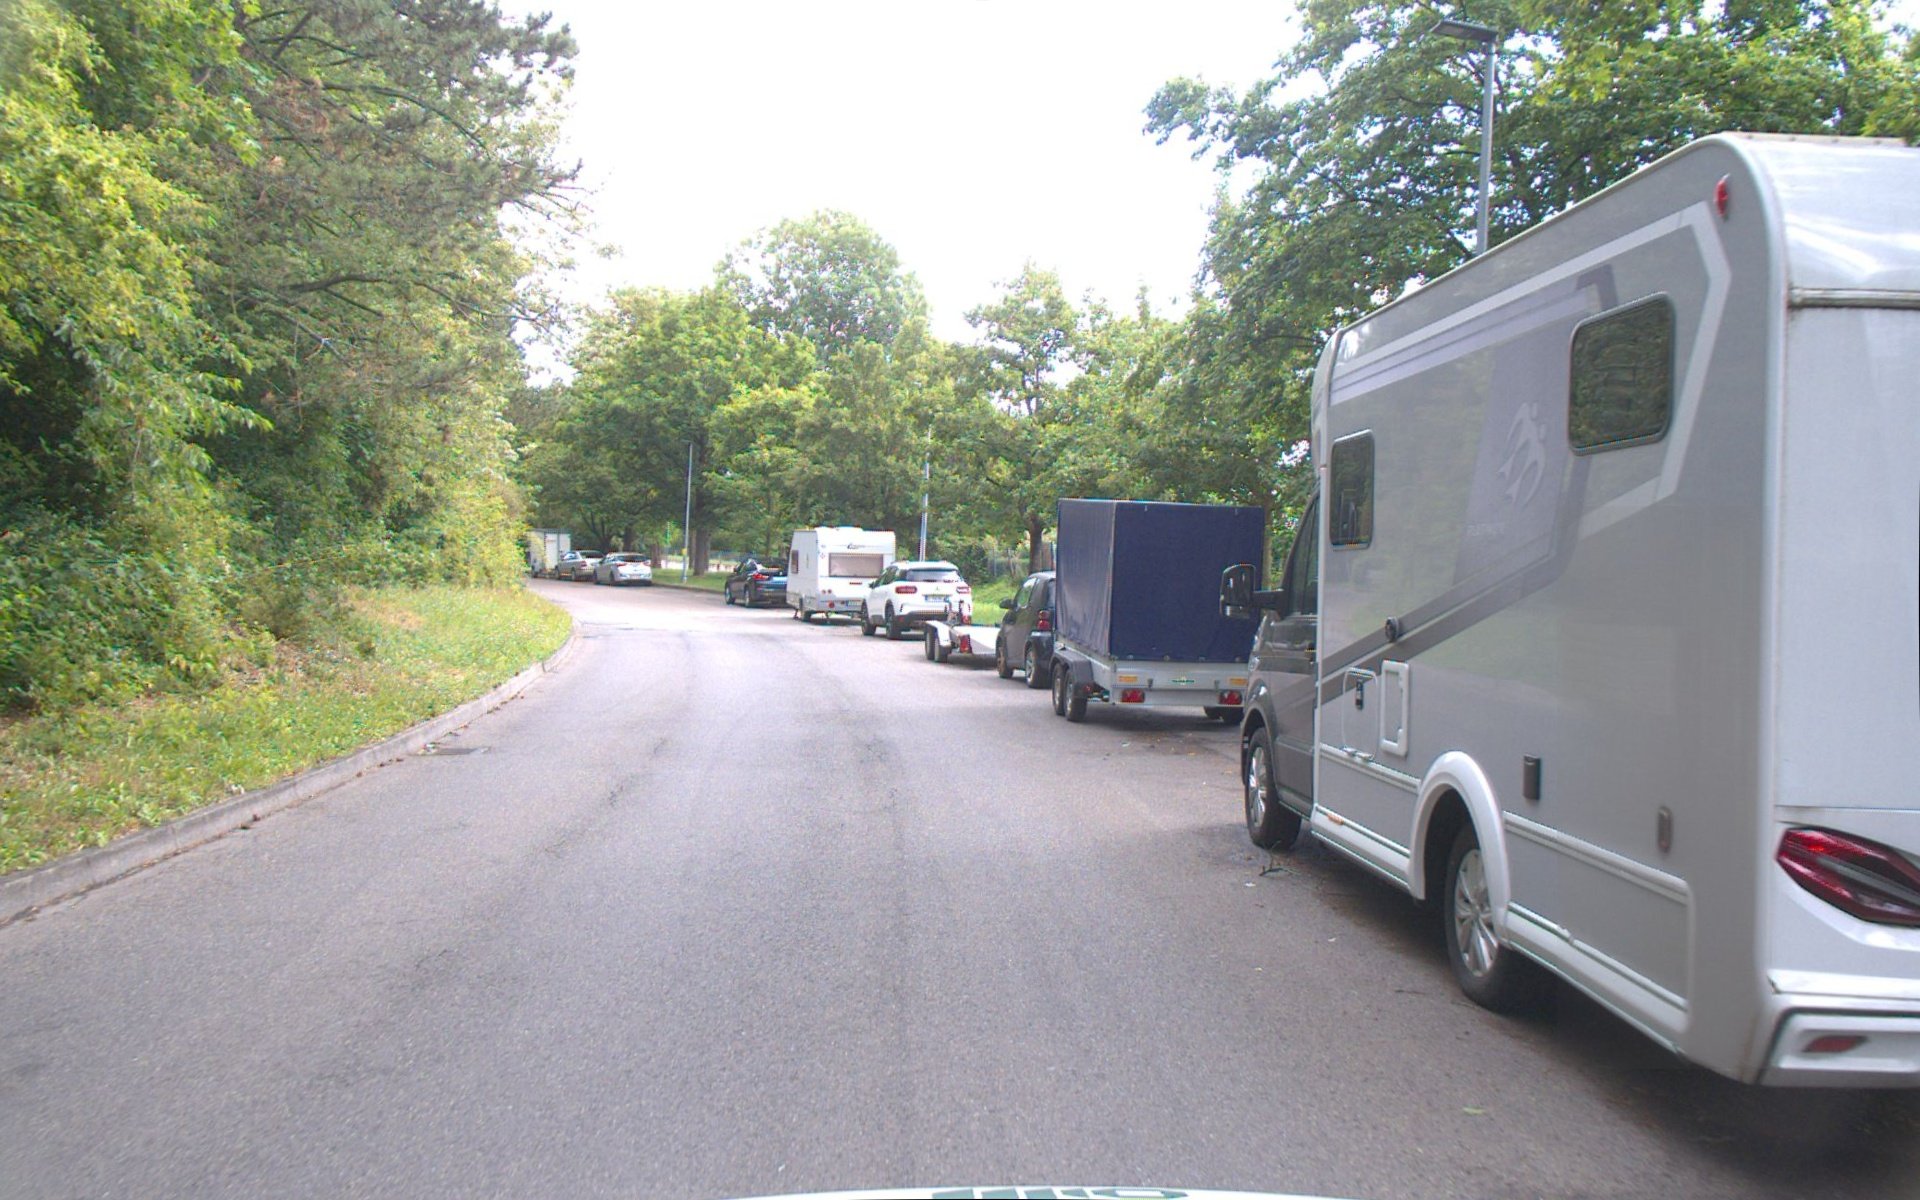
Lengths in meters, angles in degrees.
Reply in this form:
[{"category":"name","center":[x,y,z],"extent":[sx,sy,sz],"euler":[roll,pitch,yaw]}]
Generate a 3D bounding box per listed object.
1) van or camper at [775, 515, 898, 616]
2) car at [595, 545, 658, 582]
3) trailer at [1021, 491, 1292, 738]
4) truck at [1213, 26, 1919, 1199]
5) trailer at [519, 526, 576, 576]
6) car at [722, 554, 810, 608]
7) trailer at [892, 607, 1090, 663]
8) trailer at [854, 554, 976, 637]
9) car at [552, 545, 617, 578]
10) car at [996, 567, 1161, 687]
[{"category":"van or camper","center":[-3.555,-0.962,46.275],"extent":[2.127,2.580,6.004],"euler":[2,1,-17]},{"category":"car","center":[-15.021,-1.629,74.413],"extent":[1.878,1.502,4.027],"euler":[2,-1,-25]},{"category":"trailer","center":[2.011,0.005,18.506],"extent":[2.066,2.402,4.698],"euler":[0,3,-5]},{"category":"truck","center":[2.994,0.042,7.578],"extent":[2.258,2.984,7.030],"euler":[0,1,-3]},{"category":"trailer","center":[-21.165,-2.532,84.740],"extent":[1.744,2.469,3.844],"euler":[-1,2,-33]},{"category":"car","center":[-6.560,-0.663,55.548],"extent":[1.822,1.671,4.501],"euler":[0,2,-22]},{"category":"trailer","center":[0.367,0.571,29.175],"extent":[2.067,0.662,6.382],"euler":[2,1,-12]},{"category":"trailer","center":[-1.094,-0.130,37.341],"extent":[1.743,1.761,4.632],"euler":[-1,1,-15]},{"category":"car","center":[-18.254,-1.878,80.260],"extent":[1.724,1.551,4.585],"euler":[0,2,-32]},{"category":"car","center":[1.604,0.370,23.521],"extent":[1.696,1.549,3.399],"euler":[2,-1,-7]}]
